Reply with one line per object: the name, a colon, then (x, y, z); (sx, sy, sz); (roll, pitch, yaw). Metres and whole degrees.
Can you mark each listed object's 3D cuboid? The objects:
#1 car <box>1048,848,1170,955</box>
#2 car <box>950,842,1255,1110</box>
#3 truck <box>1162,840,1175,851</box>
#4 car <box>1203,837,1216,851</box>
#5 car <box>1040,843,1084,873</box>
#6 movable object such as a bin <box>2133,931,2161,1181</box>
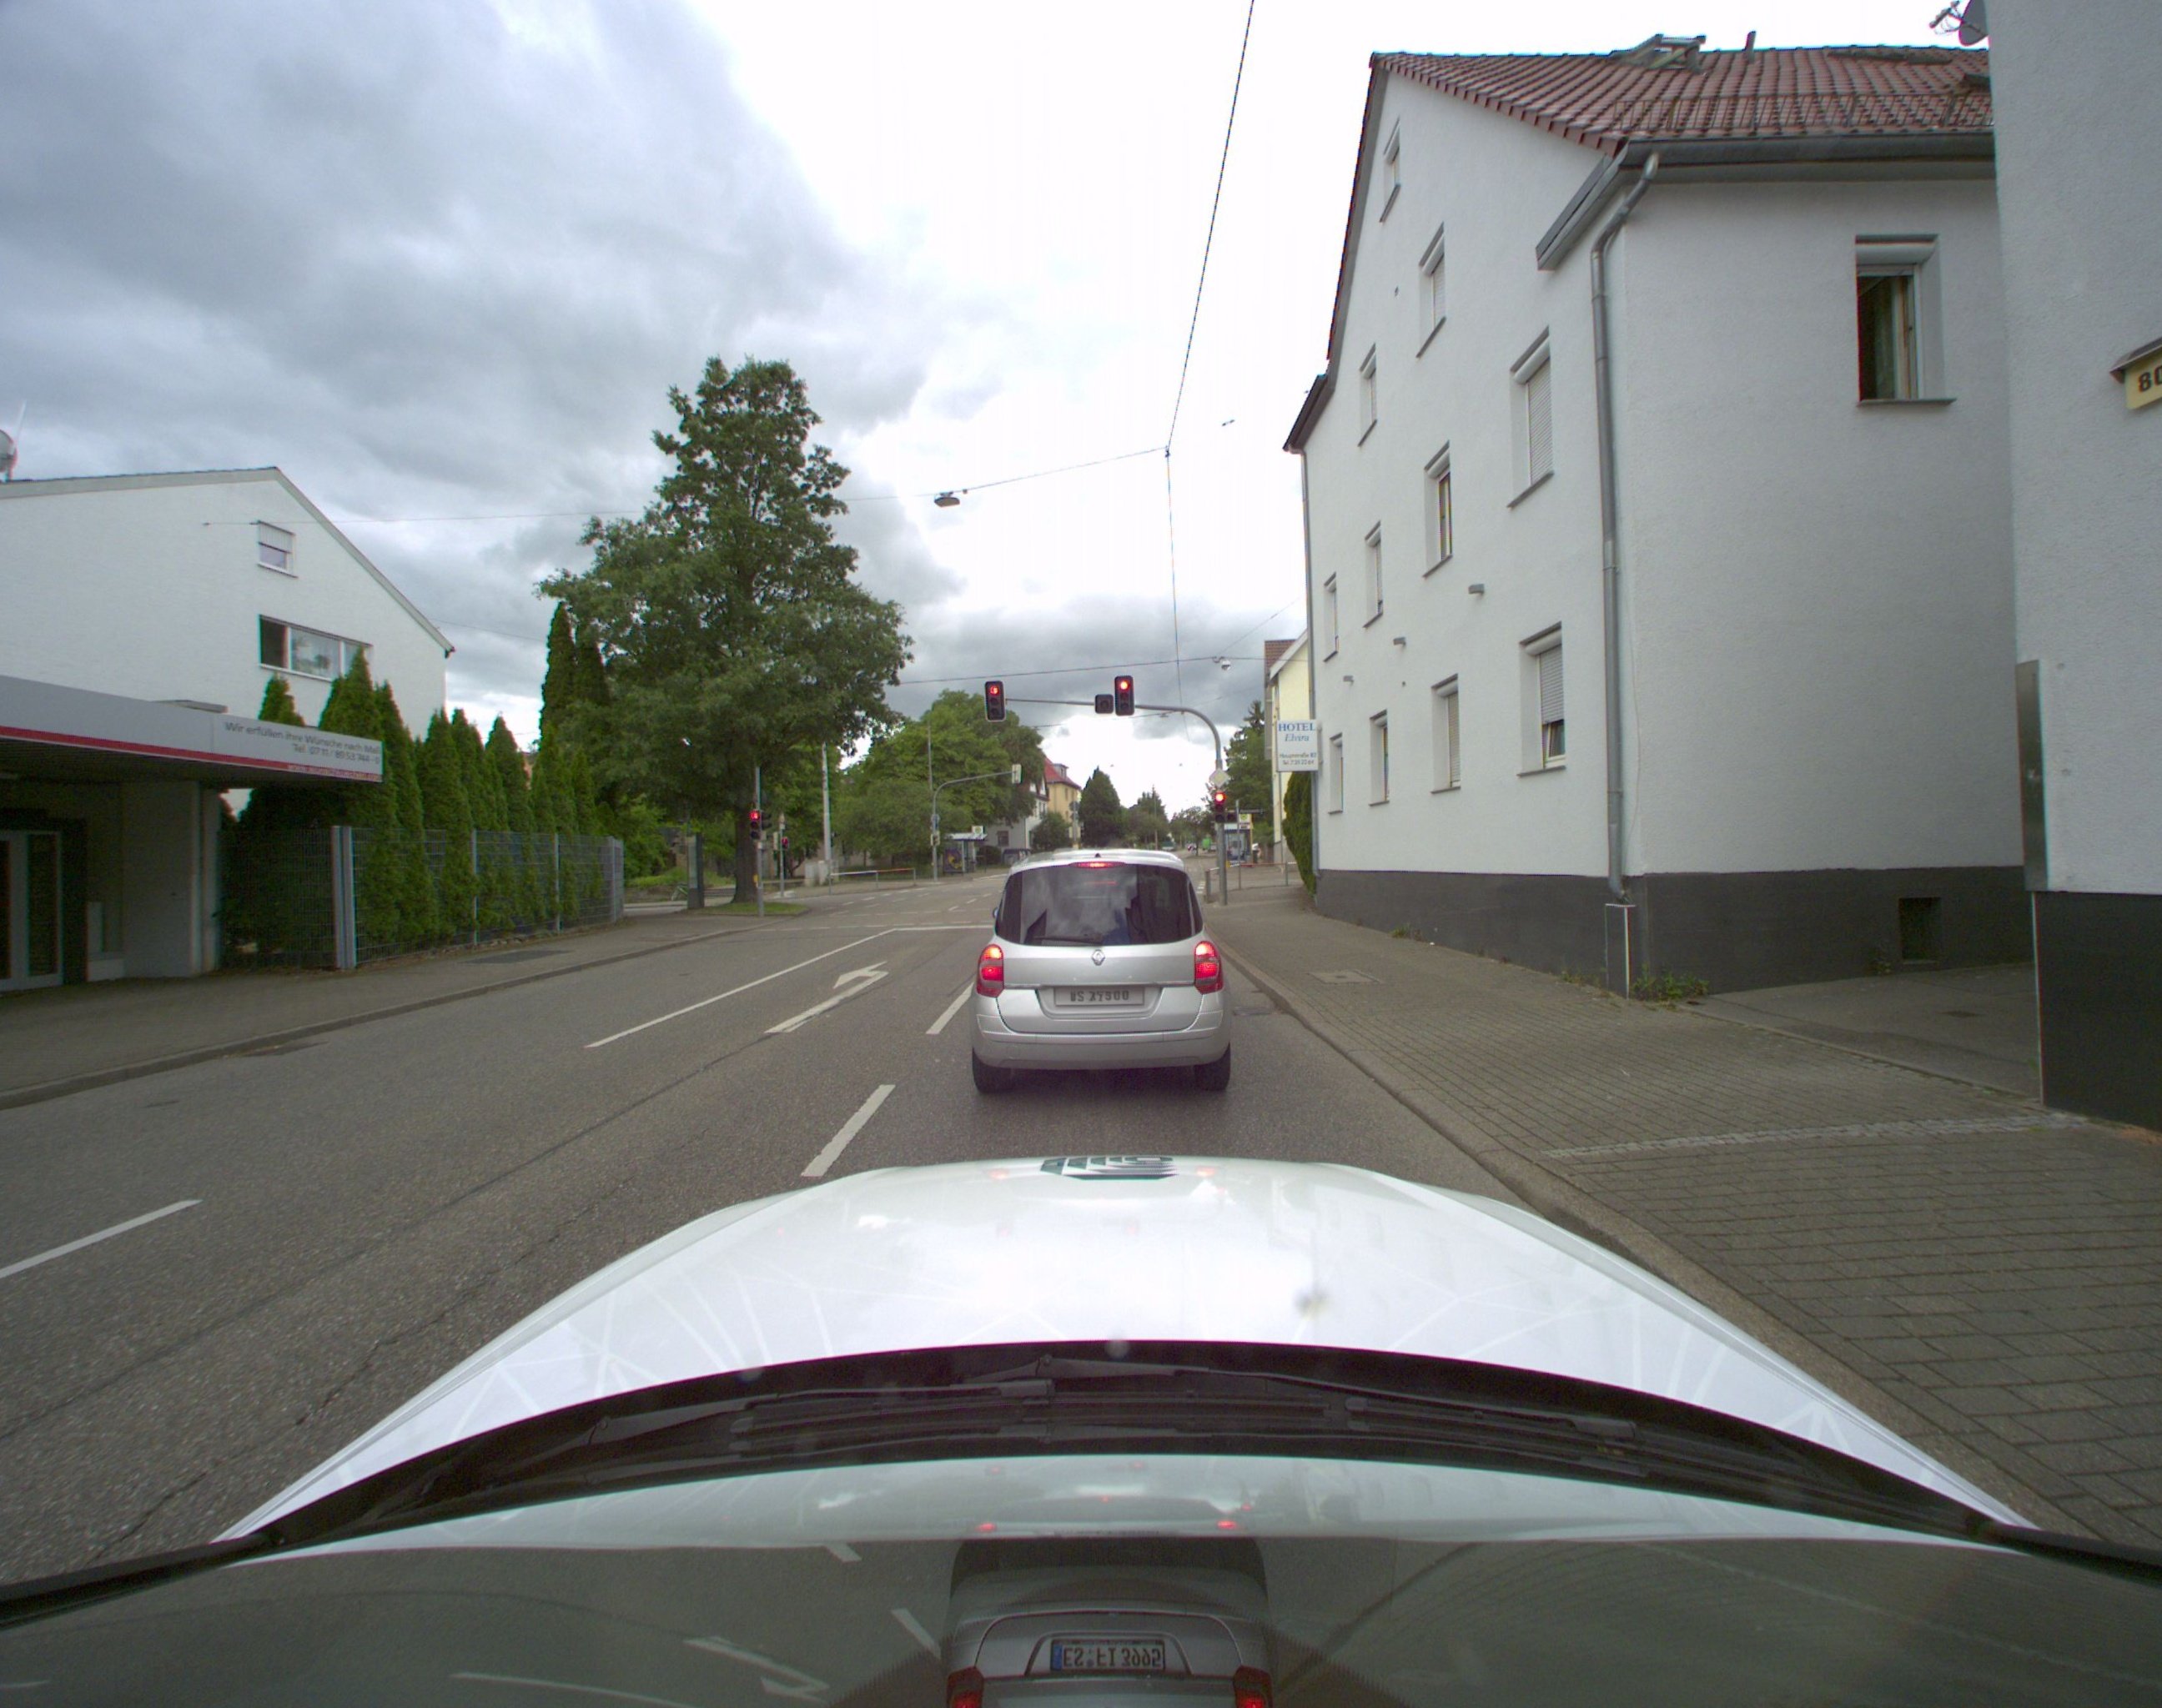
car: (0.455, 0.692, 13.746); (1.748, 1.530, 3.798); (-1, 0, 1)
car: (0.172, 0.713, 6.721); (1.748, 1.530, 4.001); (-1, 0, 1)
truck: (17.887, -1.737, 166.365); (2.088, 2.013, 5.766); (-1, 0, 11)
car: (25.638, -1.982, 162.669); (2.044, 2.512, 5.616); (-1, 0, 14)
car: (-1.226, 0.260, 54.386); (1.913, 1.773, 4.013); (-6, -1, 12)
movable object such as a bin: (4.326, 0.751, 2.872); (0.538, 0.941, 0.487); (-4, -1, 2)
